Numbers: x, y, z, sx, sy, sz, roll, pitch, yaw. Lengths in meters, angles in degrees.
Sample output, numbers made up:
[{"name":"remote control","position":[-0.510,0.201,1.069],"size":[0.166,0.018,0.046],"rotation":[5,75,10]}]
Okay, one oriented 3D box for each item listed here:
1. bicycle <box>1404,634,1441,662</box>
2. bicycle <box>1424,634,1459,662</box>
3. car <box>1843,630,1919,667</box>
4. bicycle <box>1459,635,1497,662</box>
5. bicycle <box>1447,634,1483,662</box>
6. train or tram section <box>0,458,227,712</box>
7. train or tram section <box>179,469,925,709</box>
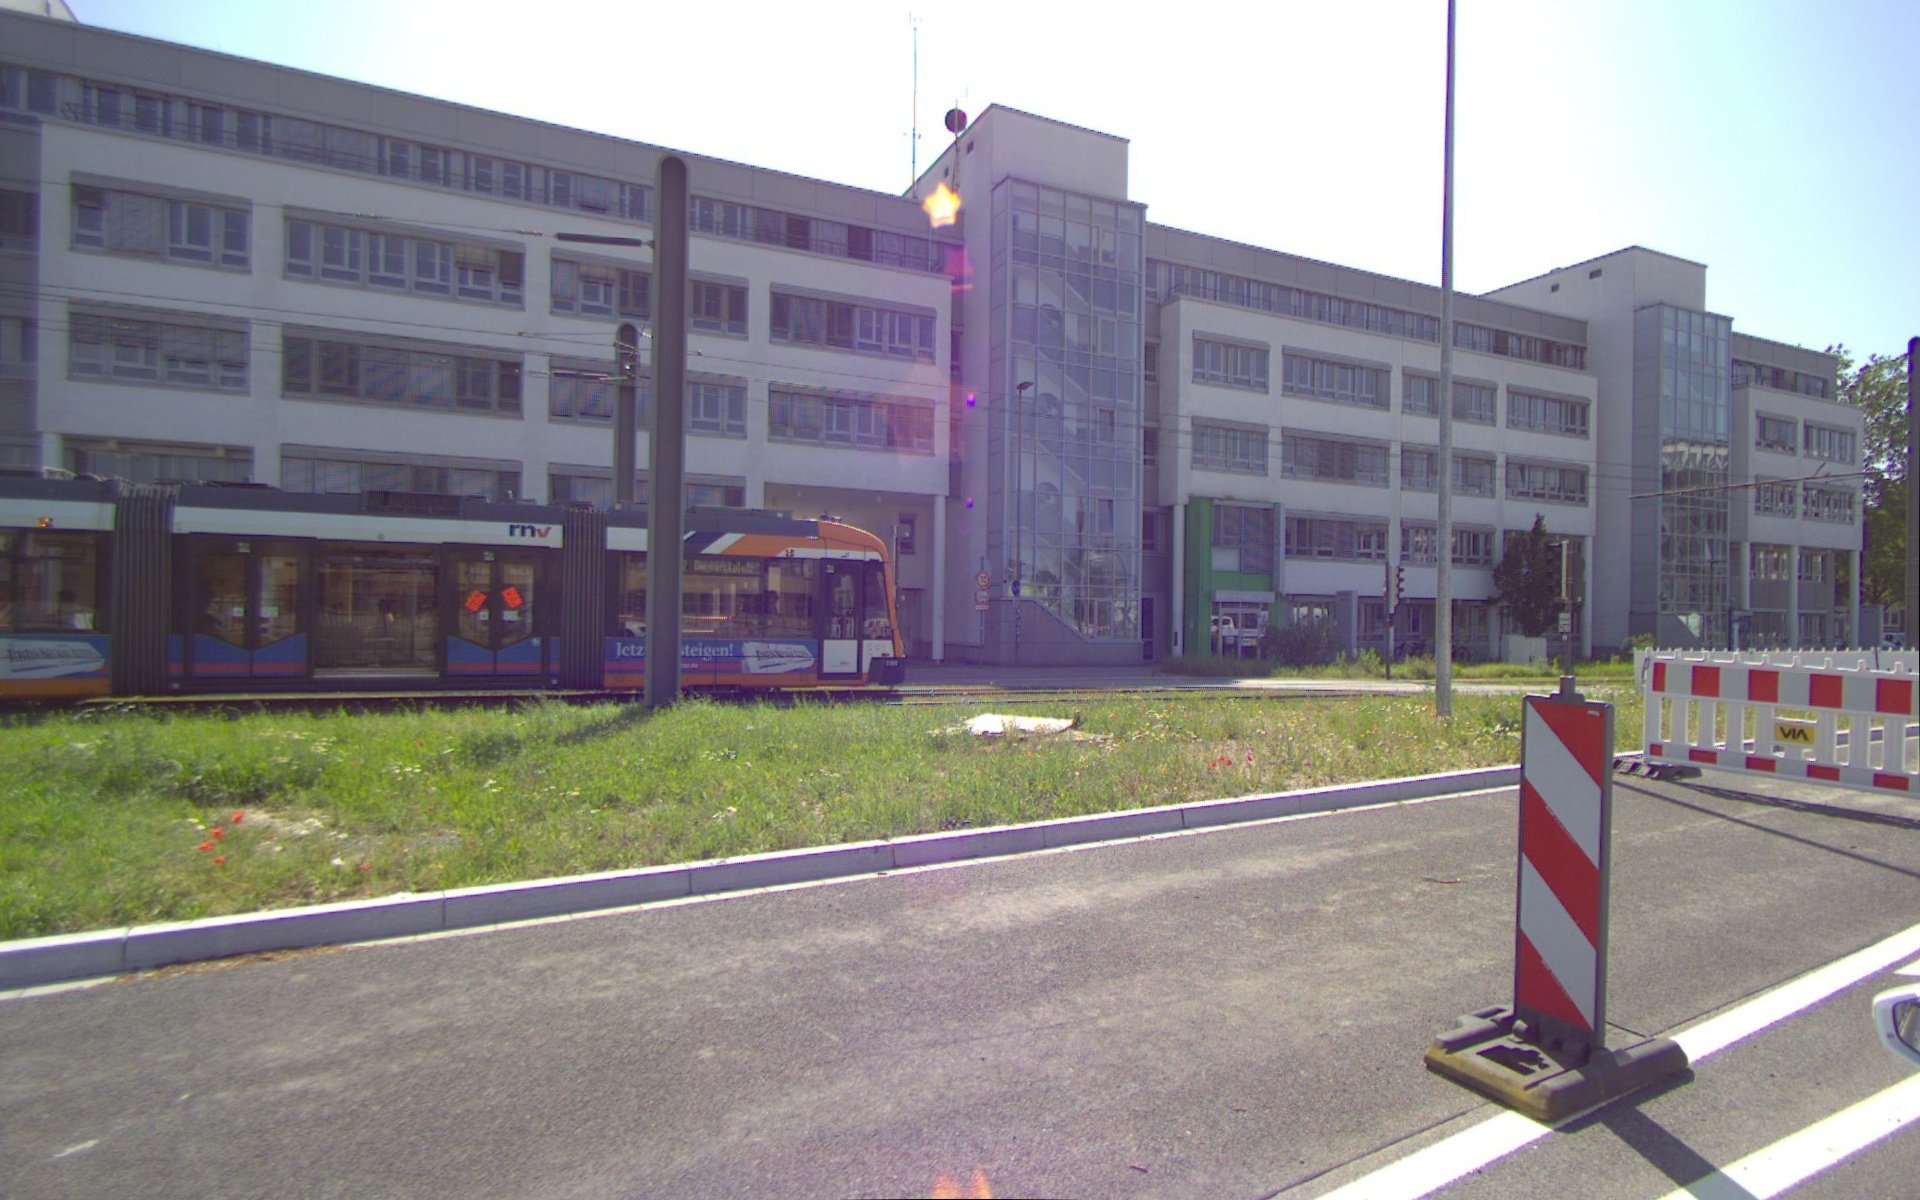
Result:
[{"name":"bicycle","position":[21.317,2.206,46.317],"size":[0.513,1.205,1.645],"rotation":[1,1,-19]},{"name":"bicycle","position":[22.445,2.222,46.862],"size":[0.431,1.205,1.645],"rotation":[1,1,-19]},{"name":"car","position":[60.976,3.118,65.709],"size":[2.071,2.208,5.078],"rotation":[1,0,2]},{"name":"bicycle","position":[24.625,2.290,47.779],"size":[0.432,1.205,1.642],"rotation":[1,1,-24]},{"name":"bicycle","position":[23.905,2.243,47.560],"size":[0.432,1.205,1.642],"rotation":[1,1,-23]},{"name":"train or tram section","position":[-17.251,-0.306,13.474],"size":[11.615,3.497,2.618],"rotation":[1,1,-24]},{"name":"train or tram section","position":[-6.537,-0.062,18.169],"size":[11.615,3.497,2.618],"rotation":[1,1,-24]}]
